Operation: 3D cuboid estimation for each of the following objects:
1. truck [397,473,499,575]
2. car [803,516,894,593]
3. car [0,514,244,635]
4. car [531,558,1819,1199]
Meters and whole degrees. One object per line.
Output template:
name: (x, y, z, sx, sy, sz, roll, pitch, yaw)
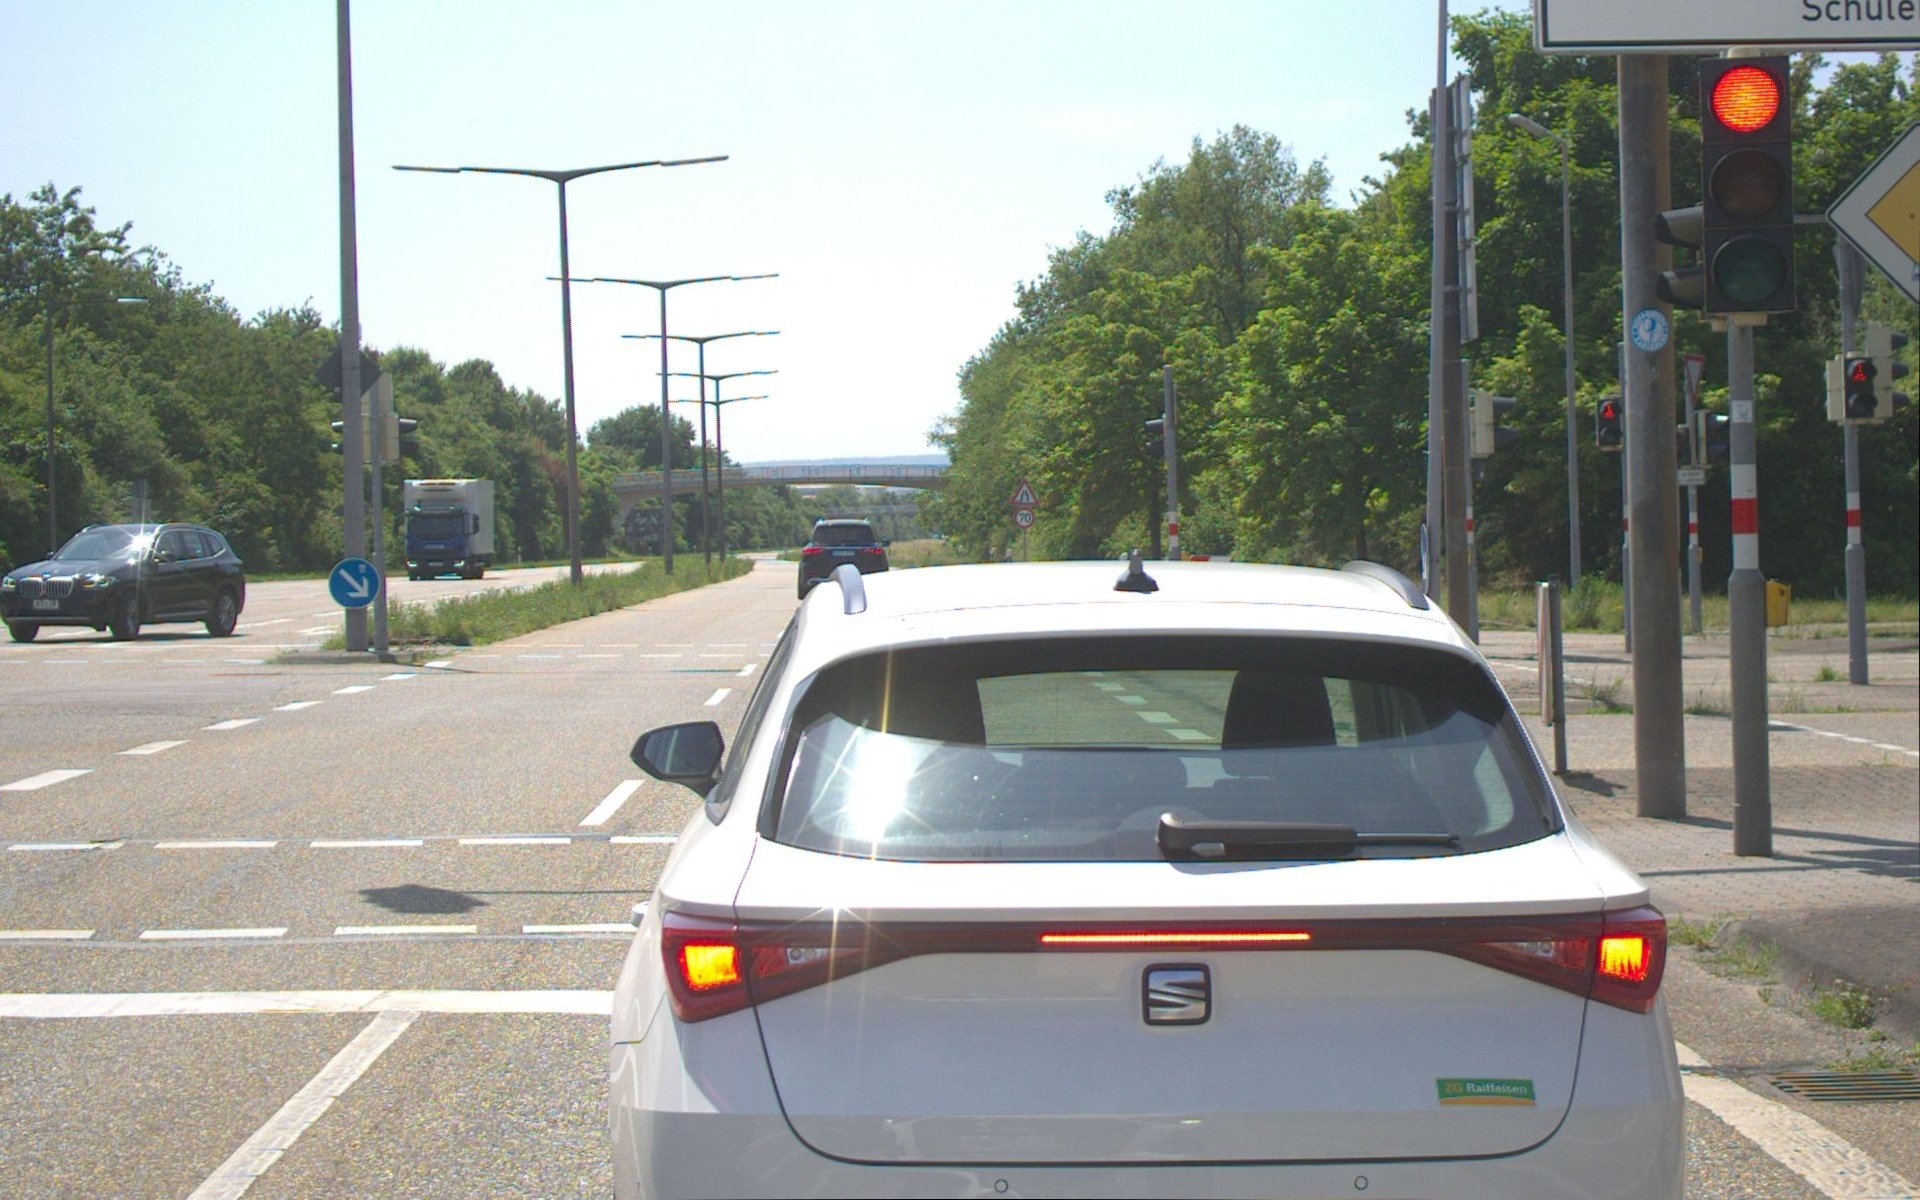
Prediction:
truck: (-18.392, -2.754, 123.842, 2.687, 3.558, 7.268, 0, 1, -1)
car: (-2.541, -1.065, 79.083, 1.855, 1.703, 4.000, -1, 1, 1)
car: (-12.221, -0.403, 50.232, 1.708, 1.657, 4.220, -1, 1, 15)
car: (0.267, 0.648, 6.507, 1.734, 1.423, 3.695, 1, 1, -1)
